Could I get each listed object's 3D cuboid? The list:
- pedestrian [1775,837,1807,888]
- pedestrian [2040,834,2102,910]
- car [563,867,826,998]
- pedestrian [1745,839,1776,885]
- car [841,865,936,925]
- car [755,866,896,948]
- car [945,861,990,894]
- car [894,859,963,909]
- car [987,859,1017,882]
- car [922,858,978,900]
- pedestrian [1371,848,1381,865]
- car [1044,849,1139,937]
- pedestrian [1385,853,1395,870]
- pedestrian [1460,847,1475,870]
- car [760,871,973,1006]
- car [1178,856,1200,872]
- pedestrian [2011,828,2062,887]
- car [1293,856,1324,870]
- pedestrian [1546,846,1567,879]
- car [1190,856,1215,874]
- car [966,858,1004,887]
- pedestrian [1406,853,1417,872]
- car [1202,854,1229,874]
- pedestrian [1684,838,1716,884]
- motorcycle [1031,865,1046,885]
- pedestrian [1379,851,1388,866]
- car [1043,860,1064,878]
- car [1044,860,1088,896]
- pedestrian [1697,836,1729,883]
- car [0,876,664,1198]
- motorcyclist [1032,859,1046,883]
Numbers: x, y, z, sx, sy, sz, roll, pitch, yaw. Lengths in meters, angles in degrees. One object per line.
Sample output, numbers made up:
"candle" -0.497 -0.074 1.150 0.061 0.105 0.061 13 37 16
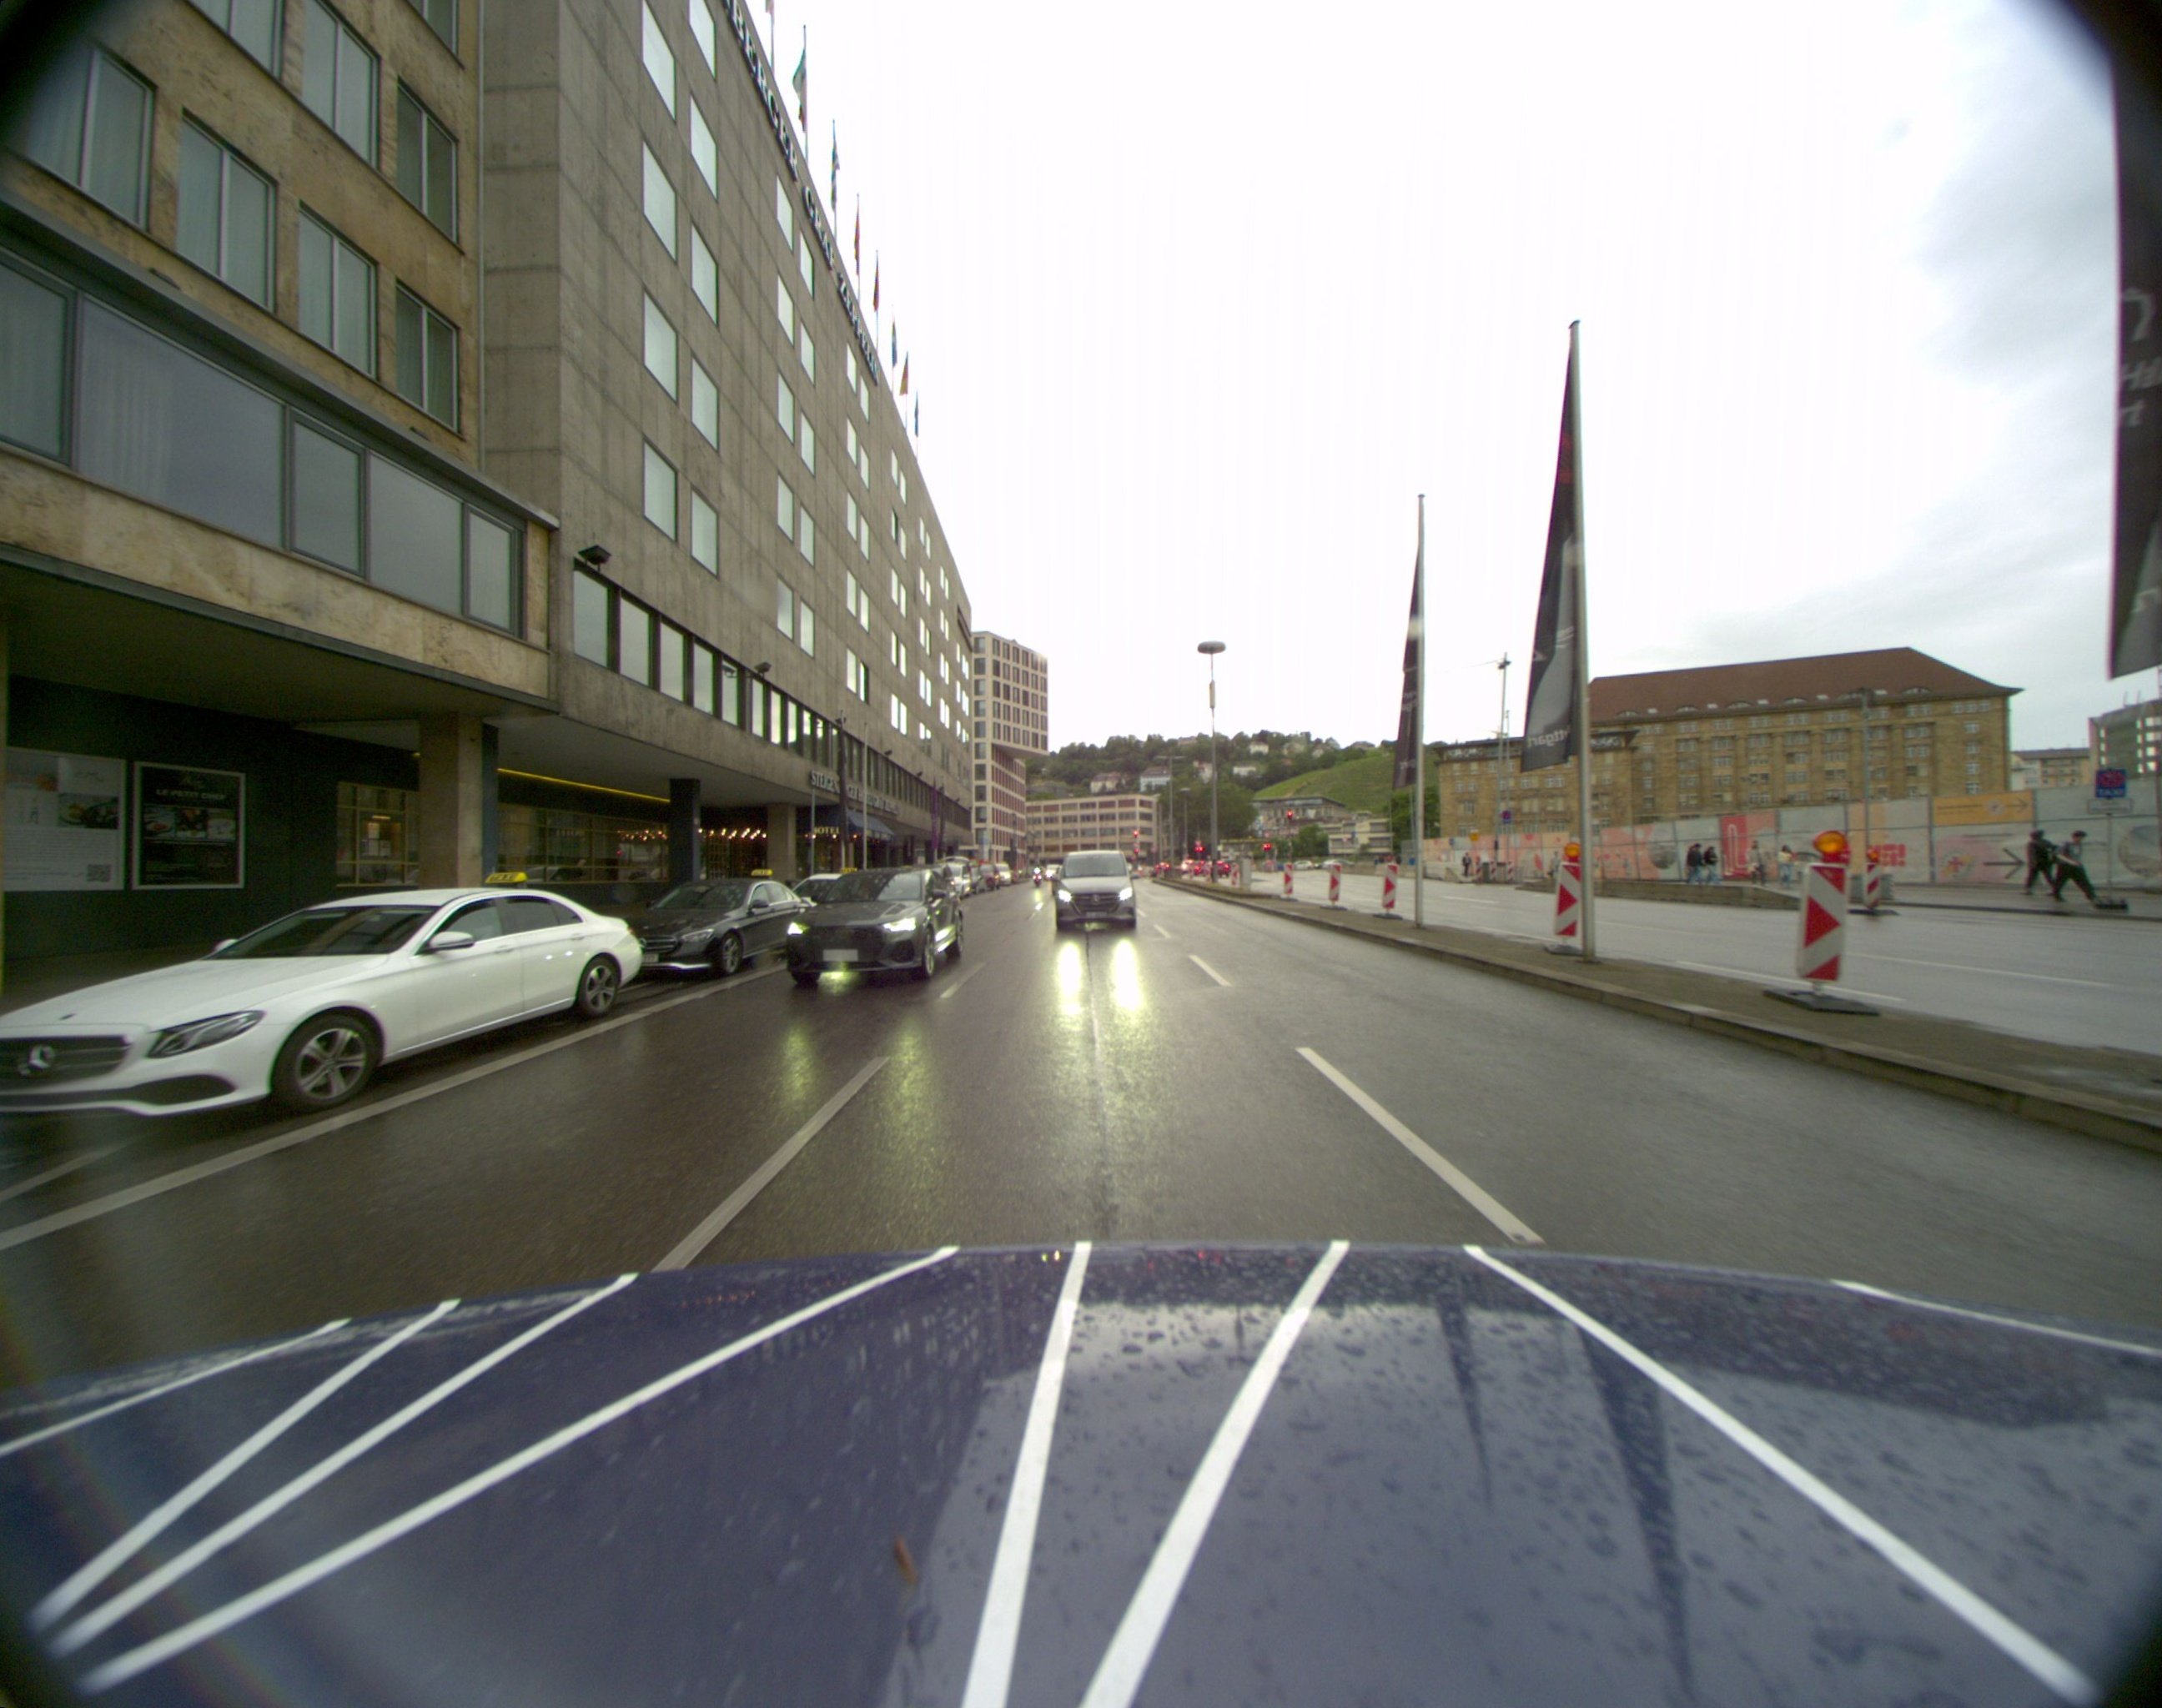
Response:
"pedestrian" 26.321 0.313 28.180 0.661 1.825 0.556 -2 1 21
"pedestrian" 24.594 0.439 18.891 0.587 1.825 0.717 -2 1 1
"car" -6.088 1.111 12.786 1.879 1.628 4.814 -2 0 0
"pedestrian" 25.726 0.295 28.774 0.714 1.734 0.564 -2 1 21
"car" -6.044 1.229 24.454 1.731 1.583 4.814 -2 0 0
"car" -6.048 1.174 18.640 1.731 1.583 4.814 -2 0 0
"car" -6.106 1.242 41.331 1.731 1.604 4.001 -2 0 0
"car" -6.045 1.130 30.626 1.731 1.732 4.814 -2 0 0
"car" -5.868 1.205 56.831 1.731 1.604 4.001 -2 0 0
"car" -6.077 1.111 35.824 1.731 1.732 4.814 -2 0 0
"pedestrian" 28.600 0.259 73.646 0.715 1.606 0.544 -2 1 1
"car" 0.261 0.844 19.134 1.998 1.849 5.160 -2 0 1
"pedestrian" 29.862 0.693 73.504 0.715 1.606 0.544 -2 1 1
"pedestrian" 27.222 0.325 53.536 0.715 1.606 0.544 -2 1 1
"car" -2.966 1.095 11.597 1.883 1.493 4.342 -2 0 1
"car" 11.894 1.110 83.974 1.785 1.684 3.916 -2 0 -1
"pedestrian" 26.599 0.096 21.162 0.715 1.606 0.544 -2 1 1
"car" 34.586 1.355 115.437 4.194 1.846 1.832 -2 1 6
"pedestrian" 26.376 0.475 42.111 0.664 1.825 0.720 -2 1 1
"car" 12.393 1.115 77.489 1.785 1.684 3.916 -2 0 -1
"car" -5.848 1.112 46.510 1.731 1.604 4.001 -2 0 0
"pedestrian" 28.828 0.772 66.230 0.715 1.606 0.544 -2 1 1
"car" 12.343 0.900 69.942 1.785 1.684 3.917 -1 0 0
"pedestrian" 23.946 0.274 29.402 0.714 1.723 0.718 -2 1 19
"motorcycle" -2.867 1.396 51.319 0.848 1.299 1.965 -2 0 1
"pedestrian" 31.801 0.489 79.958 0.715 1.606 0.544 -2 1 1
"car" -2.602 1.402 72.081 1.869 1.461 3.999 -2 0 -2
"car" -0.665 1.087 36.194 1.898 1.477 4.000 -2 0 0
"pedestrian" 24.995 0.212 30.055 0.714 1.825 0.718 -2 1 19
"car" -6.111 1.135 6.827 1.879 1.628 5.011 -2 0 0
"motorcyclist" -2.848 1.148 51.349 0.861 1.519 0.844 -2 1 1
